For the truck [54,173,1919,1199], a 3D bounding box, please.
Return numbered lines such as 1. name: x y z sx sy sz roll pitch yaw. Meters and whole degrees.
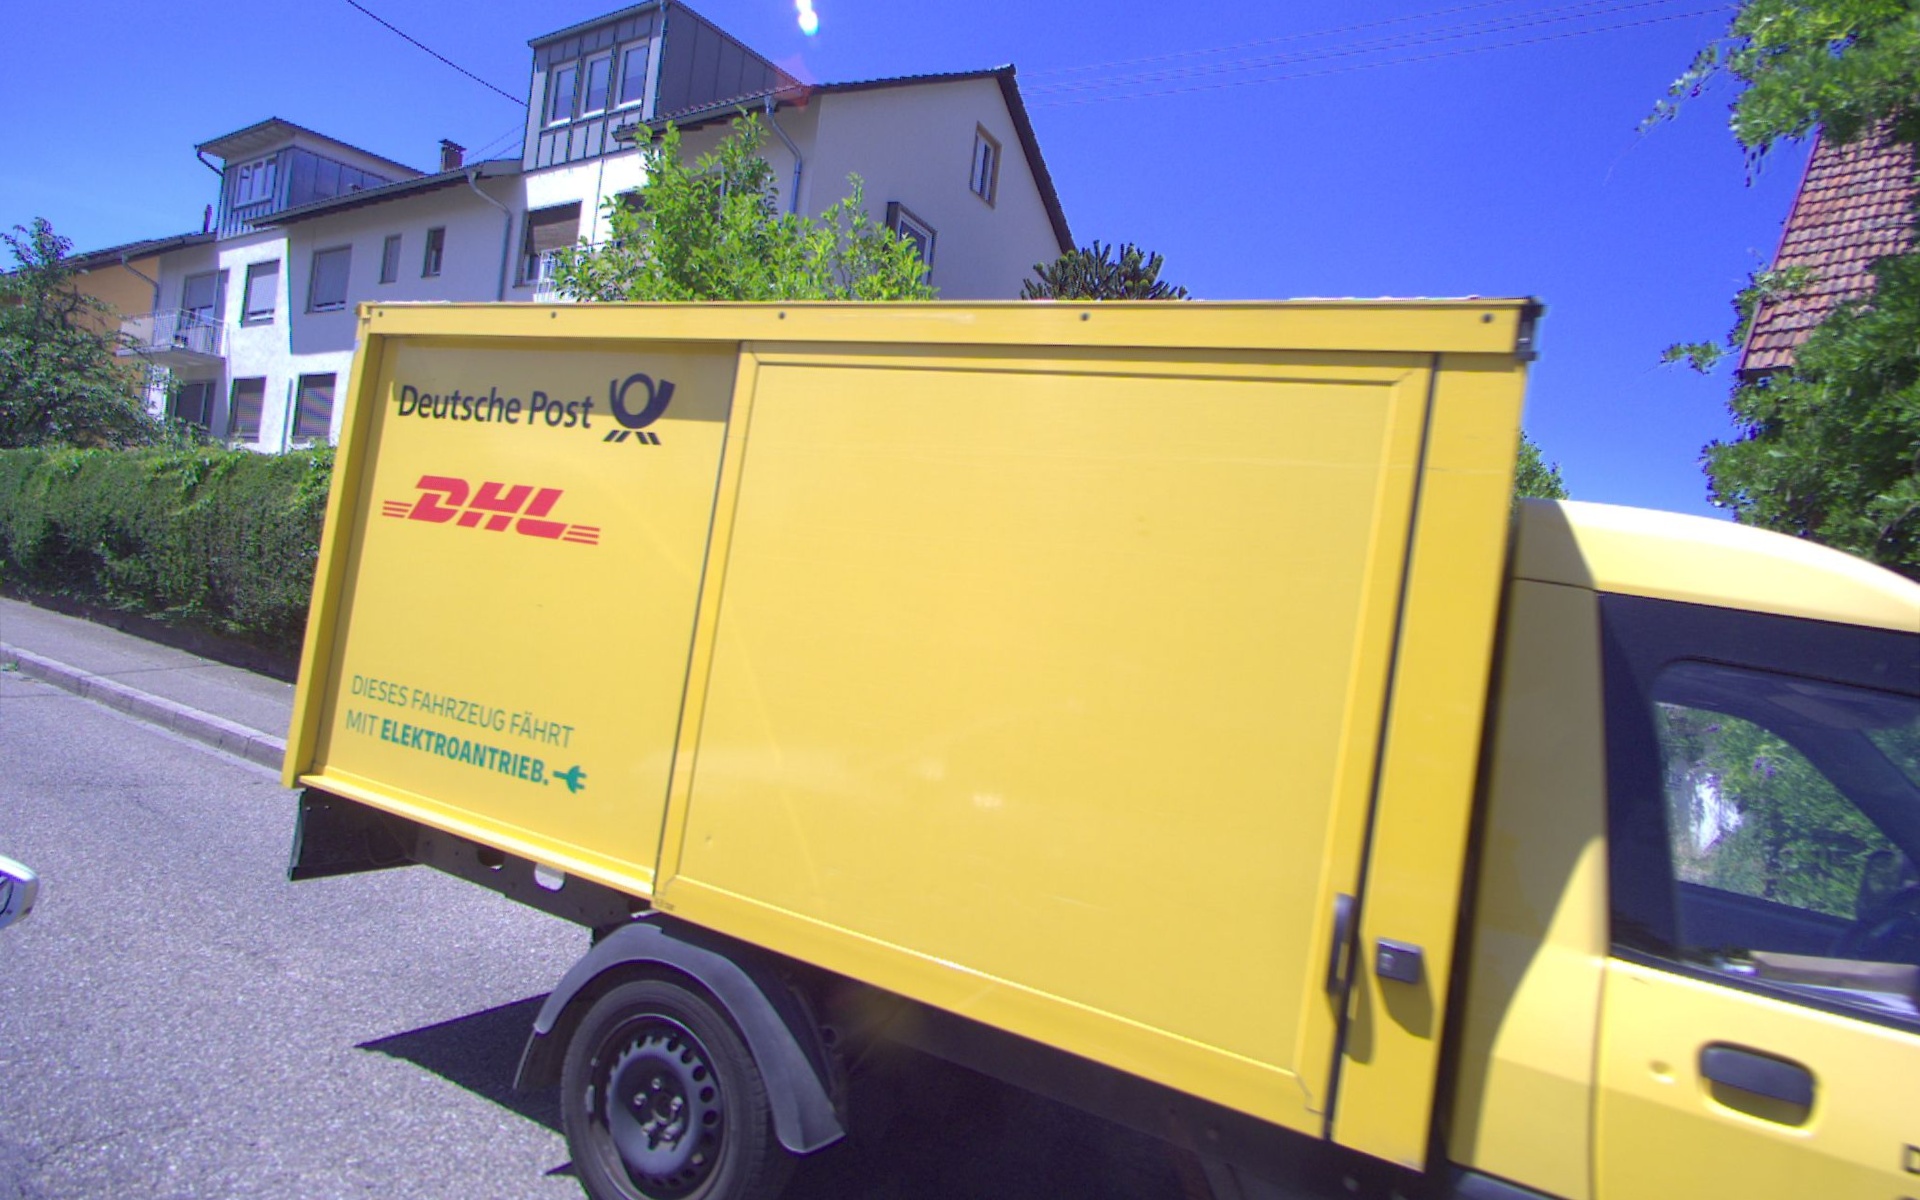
1. truck: 0.461 0.551 2.776 6.066 2.333 2.021 7 -3 26
